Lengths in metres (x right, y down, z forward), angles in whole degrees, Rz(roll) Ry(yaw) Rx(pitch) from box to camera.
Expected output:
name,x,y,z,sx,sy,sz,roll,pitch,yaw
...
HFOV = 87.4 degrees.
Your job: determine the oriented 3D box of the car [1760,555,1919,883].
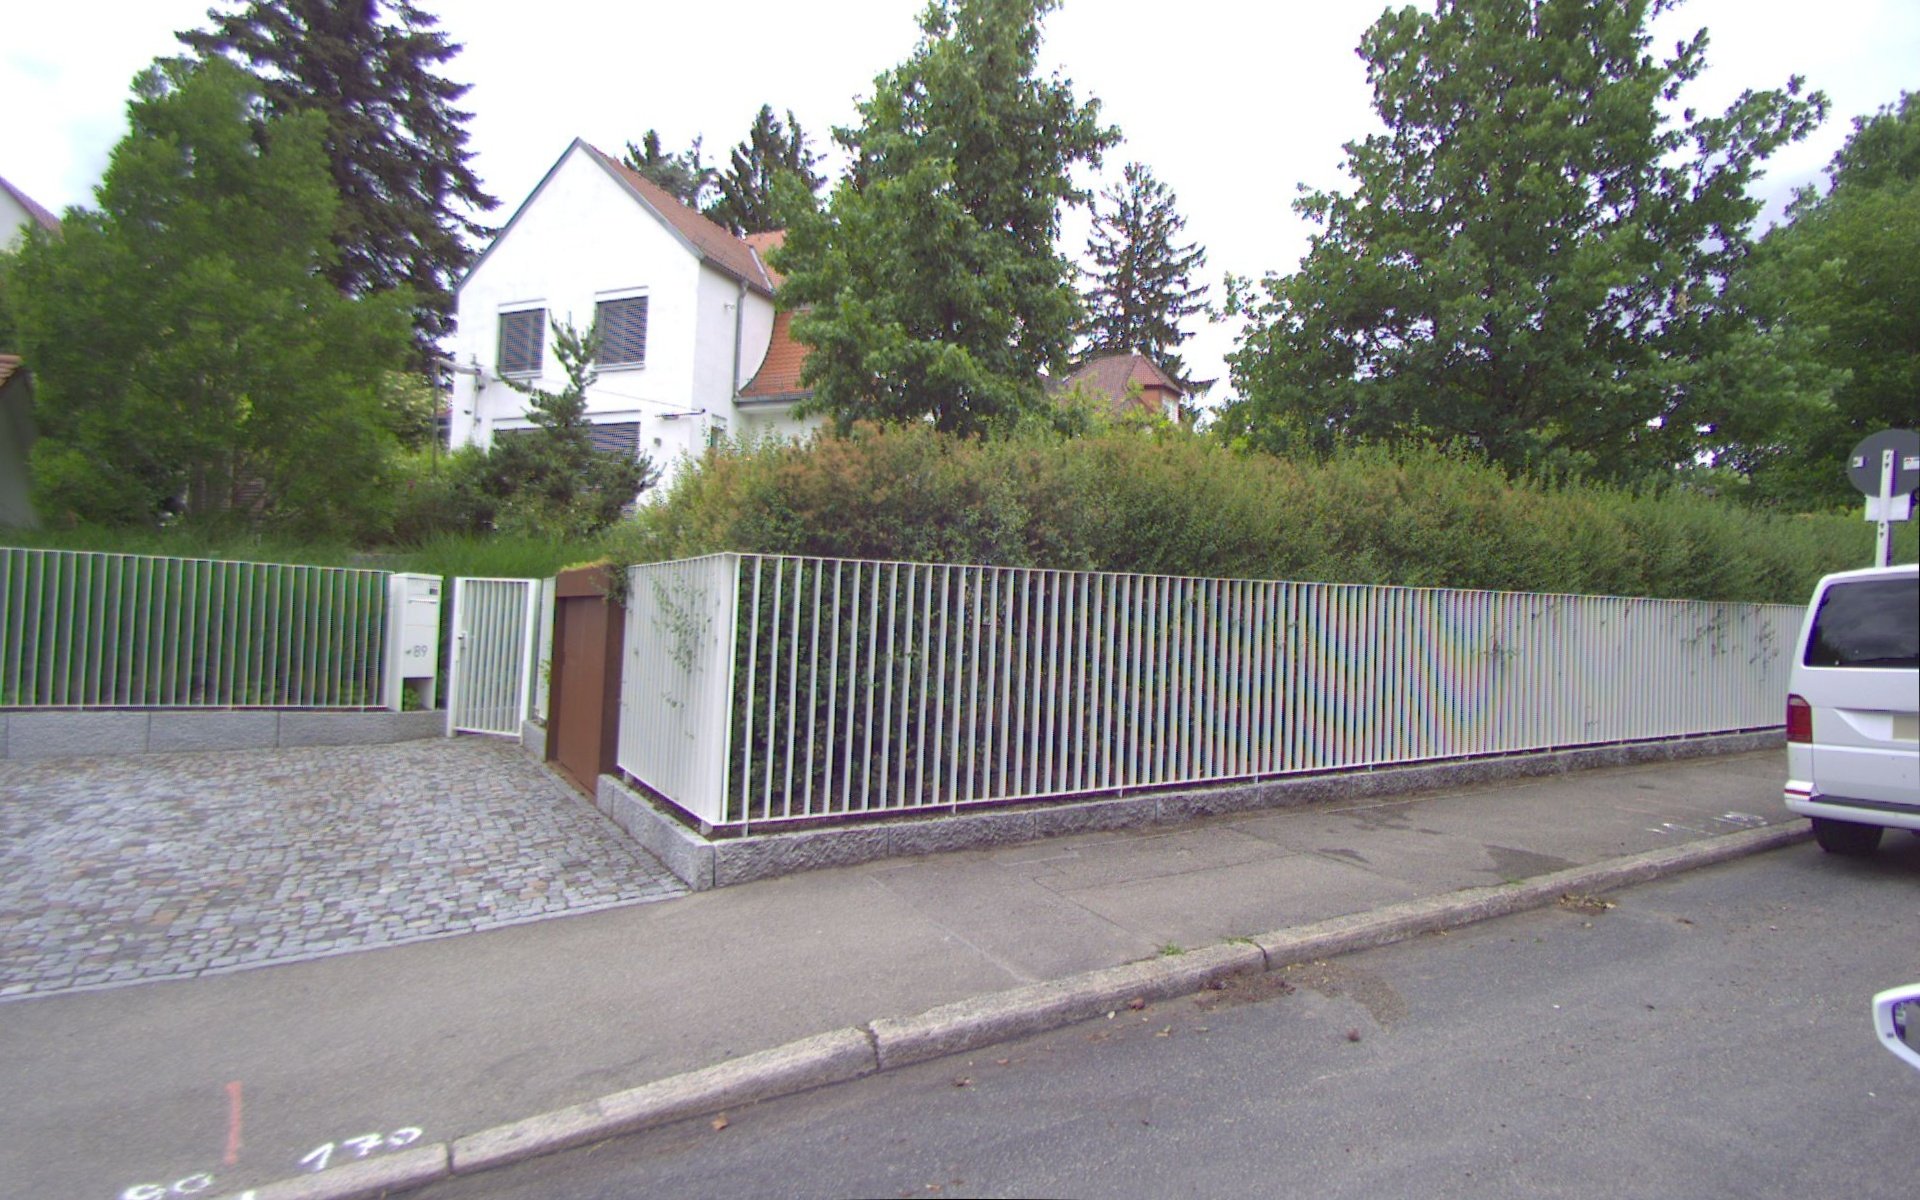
name,x,y,z,sx,sy,sz,roll,pitch,yaw
car,7.717,0.765,6.997,4.566,1.938,1.846,2,-3,-31
